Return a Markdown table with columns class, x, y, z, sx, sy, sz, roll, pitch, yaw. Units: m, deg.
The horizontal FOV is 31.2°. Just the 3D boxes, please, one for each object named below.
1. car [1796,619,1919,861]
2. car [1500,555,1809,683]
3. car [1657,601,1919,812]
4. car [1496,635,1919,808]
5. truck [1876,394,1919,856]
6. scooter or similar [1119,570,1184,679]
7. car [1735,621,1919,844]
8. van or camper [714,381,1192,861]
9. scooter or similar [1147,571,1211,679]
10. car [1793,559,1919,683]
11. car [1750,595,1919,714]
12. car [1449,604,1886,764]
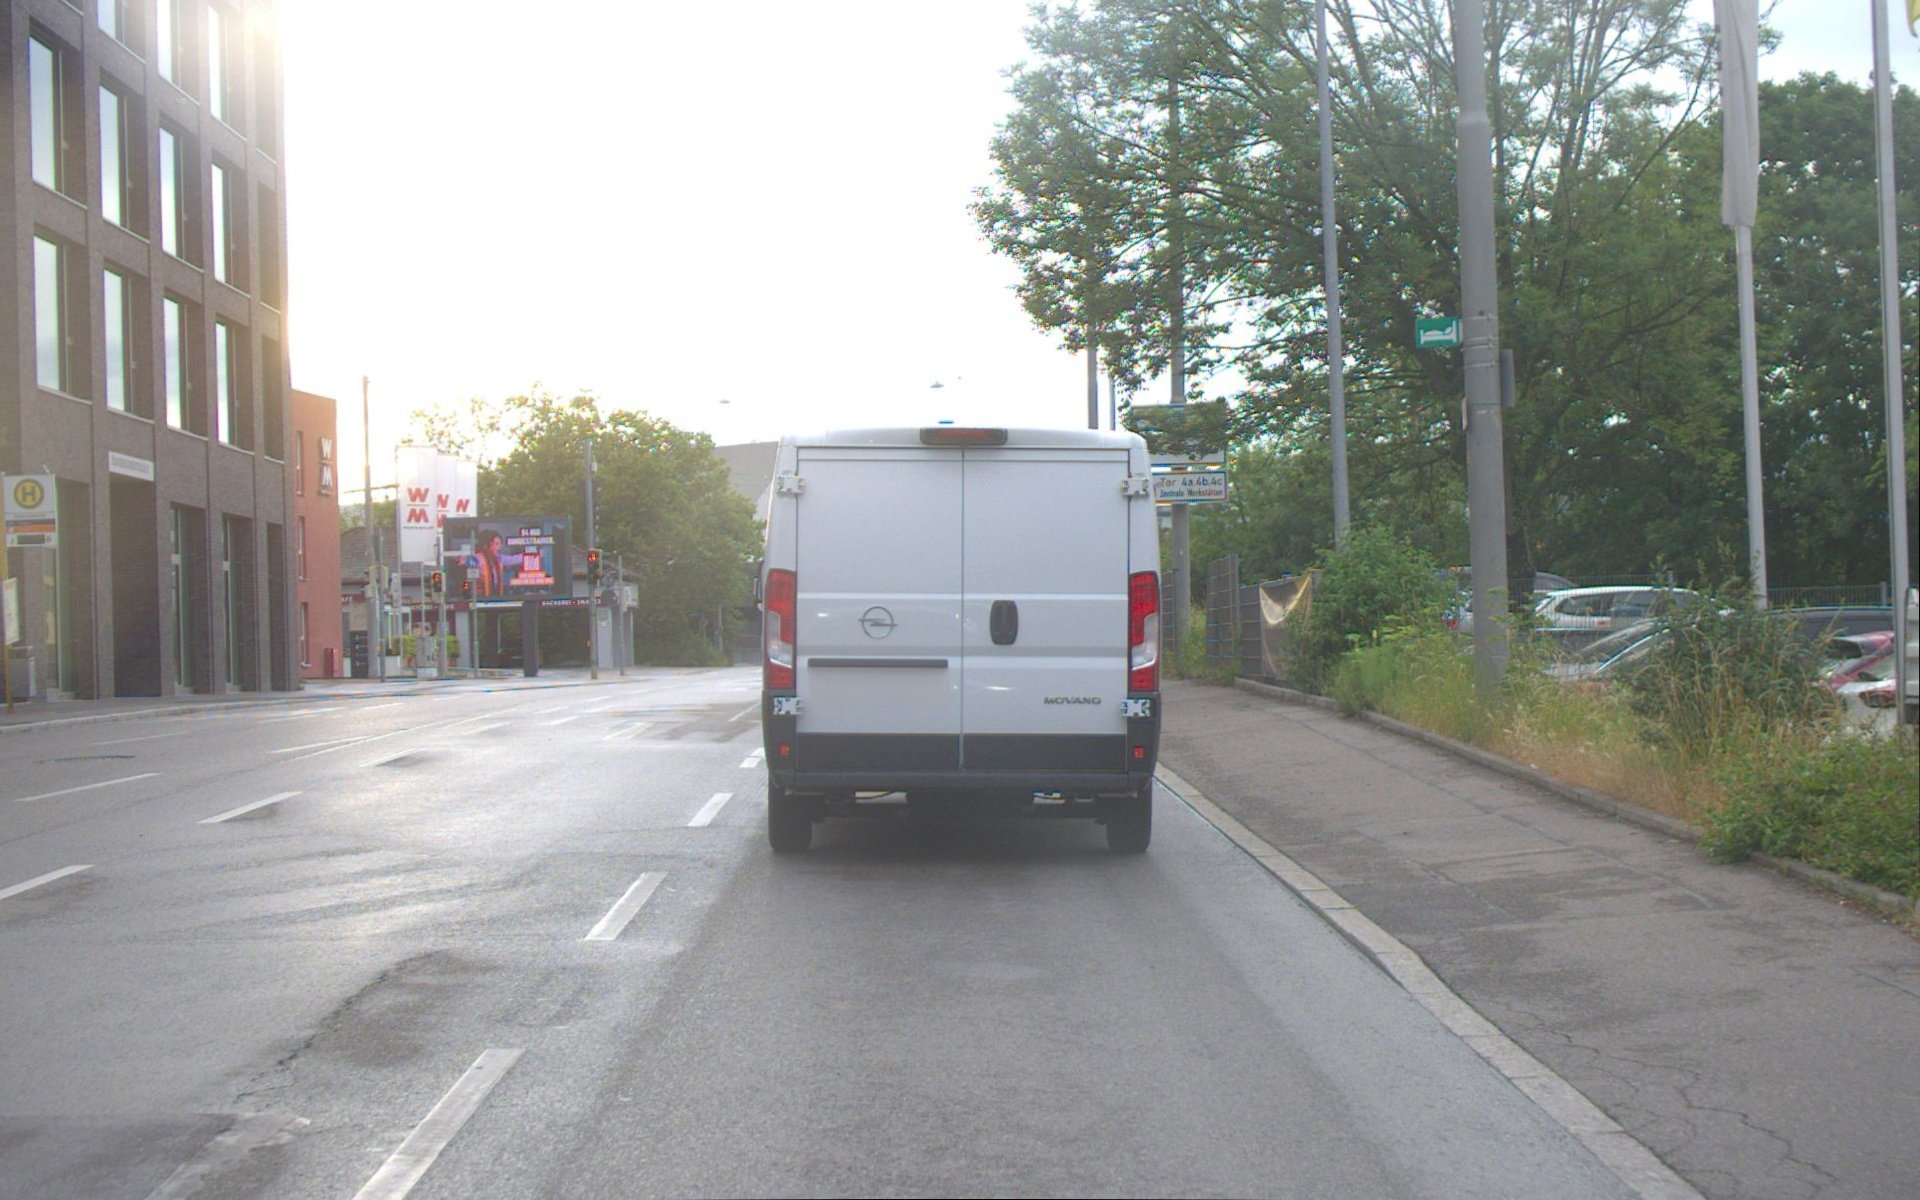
| class | x | y | z | sx | sy | sz | roll | pitch | yaw |
| --- | --- | --- | --- | --- | --- | --- | --- | --- | --- |
| car | 7.551 | 0.872 | 22.440 | 3.765 | 1.489 | 1.810 | -1 | 0 | 2 |
| car | 10.162 | 0.261 | 50.482 | 3.986 | 1.516 | 1.804 | -5 | 1 | -5 |
| car | 7.798 | 0.816 | 27.358 | 4.129 | 1.583 | 1.760 | 0 | 1 | 0 |
| car | 7.220 | 1.130 | 32.530 | 3.987 | 1.516 | 1.804 | -1 | 0 | 0 |
| truck | 6.769 | 0.101 | 14.484 | 5.147 | 2.007 | 2.345 | 0 | 1 | -2 |
| scooter or similar | 2.829 | 0.355 | 50.823 | 0.434 | 1.582 | 1.273 | -1 | 1 | -23 |
| car | 7.782 | 0.919 | 24.765 | 3.987 | 1.503 | 1.760 | 0 | 1 | 0 |
| van or camper | -0.027 | 0.067 | 19.533 | 2.340 | 2.349 | 5.199 | 0 | 1 | 0 |
| scooter or similar | 3.245 | 0.361 | 51.000 | 0.434 | 1.559 | 1.273 | -1 | 1 | -22 |
| car | 12.762 | 0.236 | 43.392 | 3.986 | 1.516 | 1.804 | -1 | 0 | -5 |
| car | 12.806 | 0.702 | 46.007 | 3.986 | 1.516 | 1.804 | -1 | 0 | -5 |
| car | 7.144 | 0.830 | 34.941 | 3.986 | 1.516 | 1.804 | -1 | 0 | -5 |
